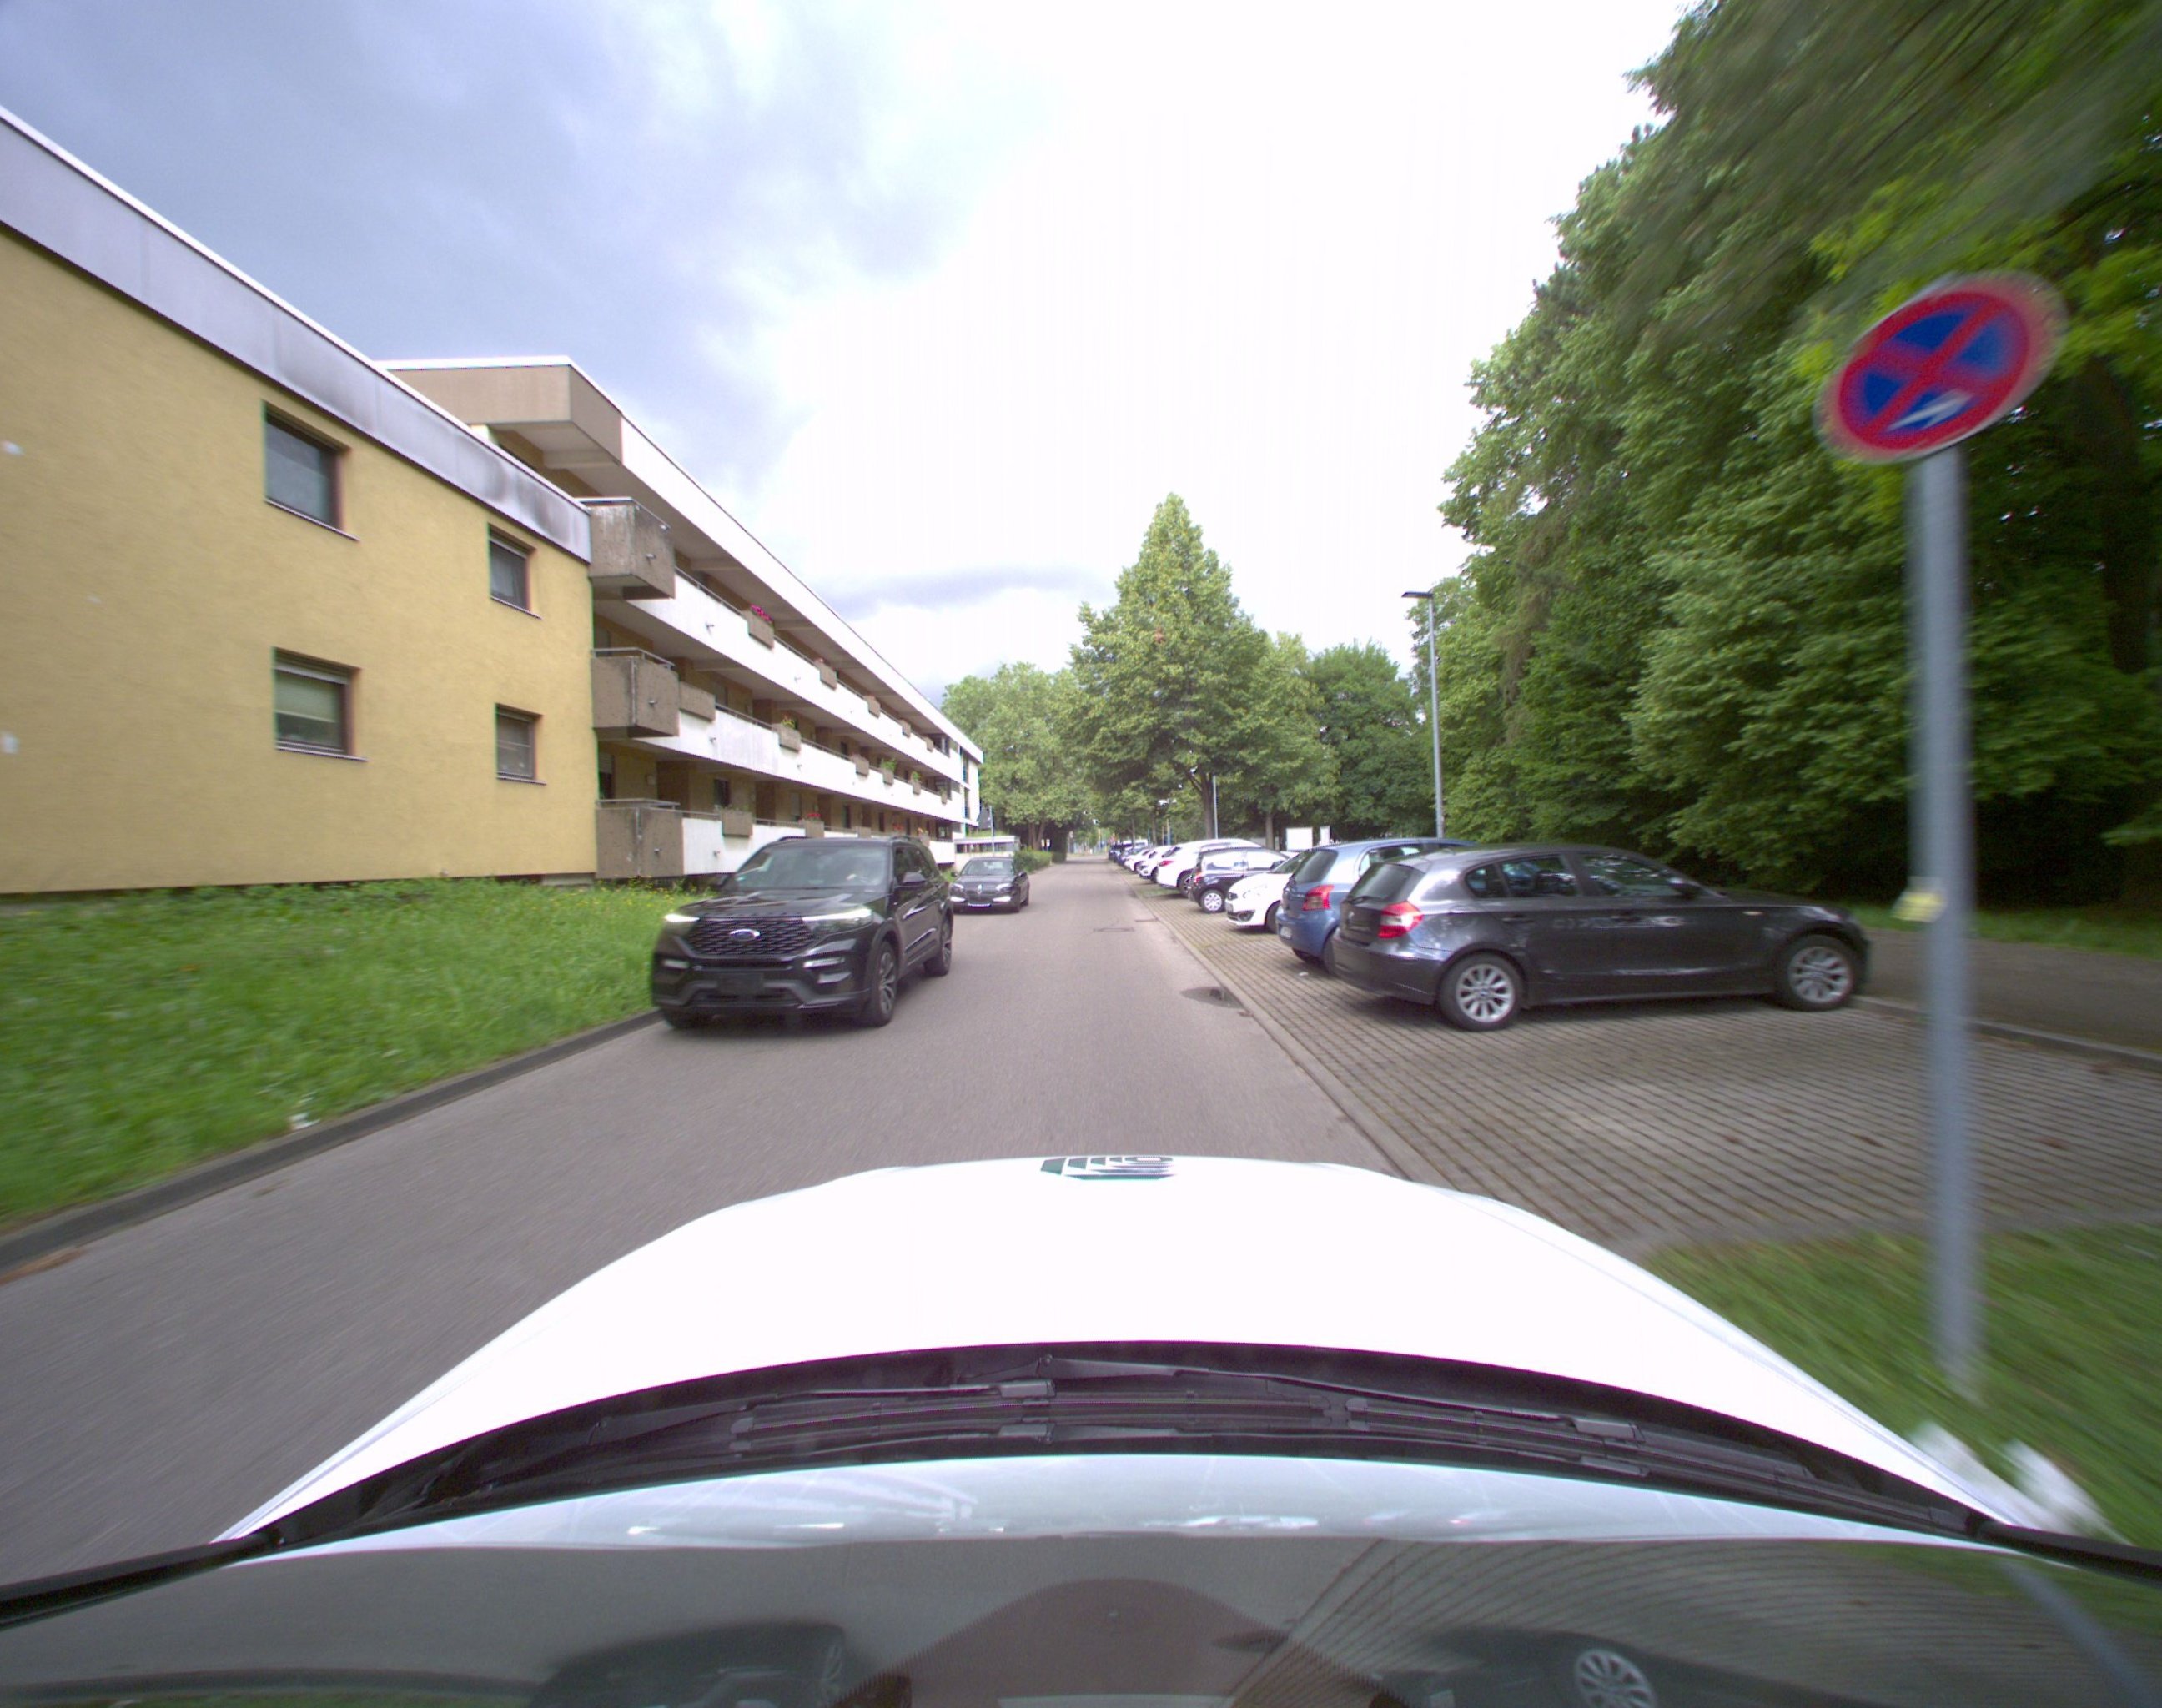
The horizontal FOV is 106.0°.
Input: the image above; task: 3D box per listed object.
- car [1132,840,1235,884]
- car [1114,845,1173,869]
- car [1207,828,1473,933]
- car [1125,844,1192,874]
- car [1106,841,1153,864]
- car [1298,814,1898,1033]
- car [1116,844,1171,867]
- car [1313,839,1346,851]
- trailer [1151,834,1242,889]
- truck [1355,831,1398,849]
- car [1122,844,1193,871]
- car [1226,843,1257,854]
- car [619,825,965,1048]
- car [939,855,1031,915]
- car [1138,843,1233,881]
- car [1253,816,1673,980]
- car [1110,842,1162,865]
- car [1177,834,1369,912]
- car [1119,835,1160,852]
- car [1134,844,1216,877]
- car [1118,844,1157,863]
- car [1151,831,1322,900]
[{"bbox_3d":[4.379,0.338,35.150,4.102,1.548,1.859,-4,0,-2],"label":"car"},{"bbox_3d":[4.497,0.223,59.093,4.058,1.456,1.852,-4,0,1],"label":"car"},{"bbox_3d":[4.525,0.439,14.610,4.150,1.570,1.783,-3,0,-4],"label":"car"},{"bbox_3d":[4.551,0.289,48.177,3.824,1.515,1.883,-4,0,3],"label":"car"},{"bbox_3d":[5.202,-0.182,87.769,4.935,2.013,2.167,-4,0,2],"label":"car"},{"bbox_3d":[4.189,0.517,7.083,4.074,1.464,1.785,-3,0,-1],"label":"car"},{"bbox_3d":[4.881,0.100,64.226,4.063,1.517,1.849,-4,0,-3],"label":"car"},{"bbox_3d":[35.916,-1.320,117.696,4.259,1.526,1.707,-2,0,7],"label":"car"},{"bbox_3d":[4.215,0.262,29.985,3.022,1.790,1.562,-4,0,-2],"label":"trailer"},{"bbox_3d":[42.418,-2.012,117.002,5.476,2.426,2.197,-2,0,7],"label":"truck"},{"bbox_3d":[5.009,0.228,53.985,4.470,1.454,1.847,-4,0,0],"label":"car"},{"bbox_3d":[23.489,-0.797,119.175,4.369,1.428,1.706,-2,0,6],"label":"car"},{"bbox_3d":[-2.645,0.646,8.963,1.907,1.717,5.059,-1,0,1],"label":"car"},{"bbox_3d":[-2.469,0.764,22.023,1.907,1.411,4.423,-1,0,0],"label":"car"},{"bbox_3d":[4.784,0.365,37.691,4.001,1.422,1.789,-4,0,-5],"label":"car"},{"bbox_3d":[4.326,0.473,9.684,4.123,1.570,1.785,-3,0,-1],"label":"car"},{"bbox_3d":[4.857,-0.062,72.240,4.400,1.675,2.082,-4,1,0],"label":"car"},{"bbox_3d":[4.454,0.435,19.383,4.142,1.570,1.852,-3,0,2],"label":"car"},{"bbox_3d":[9.099,-1.592,126.329,6.233,2.476,2.140,-1,0,1],"label":"car"},{"bbox_3d":[4.901,0.320,42.819,4.042,1.422,1.816,-4,0,-1],"label":"car"},{"bbox_3d":[5.154,-0.054,74.845,3.367,1.574,1.797,-4,1,1],"label":"car"},{"bbox_3d":[4.597,0.327,24.670,4.797,1.693,1.976,-4,0,4],"label":"car"}]
